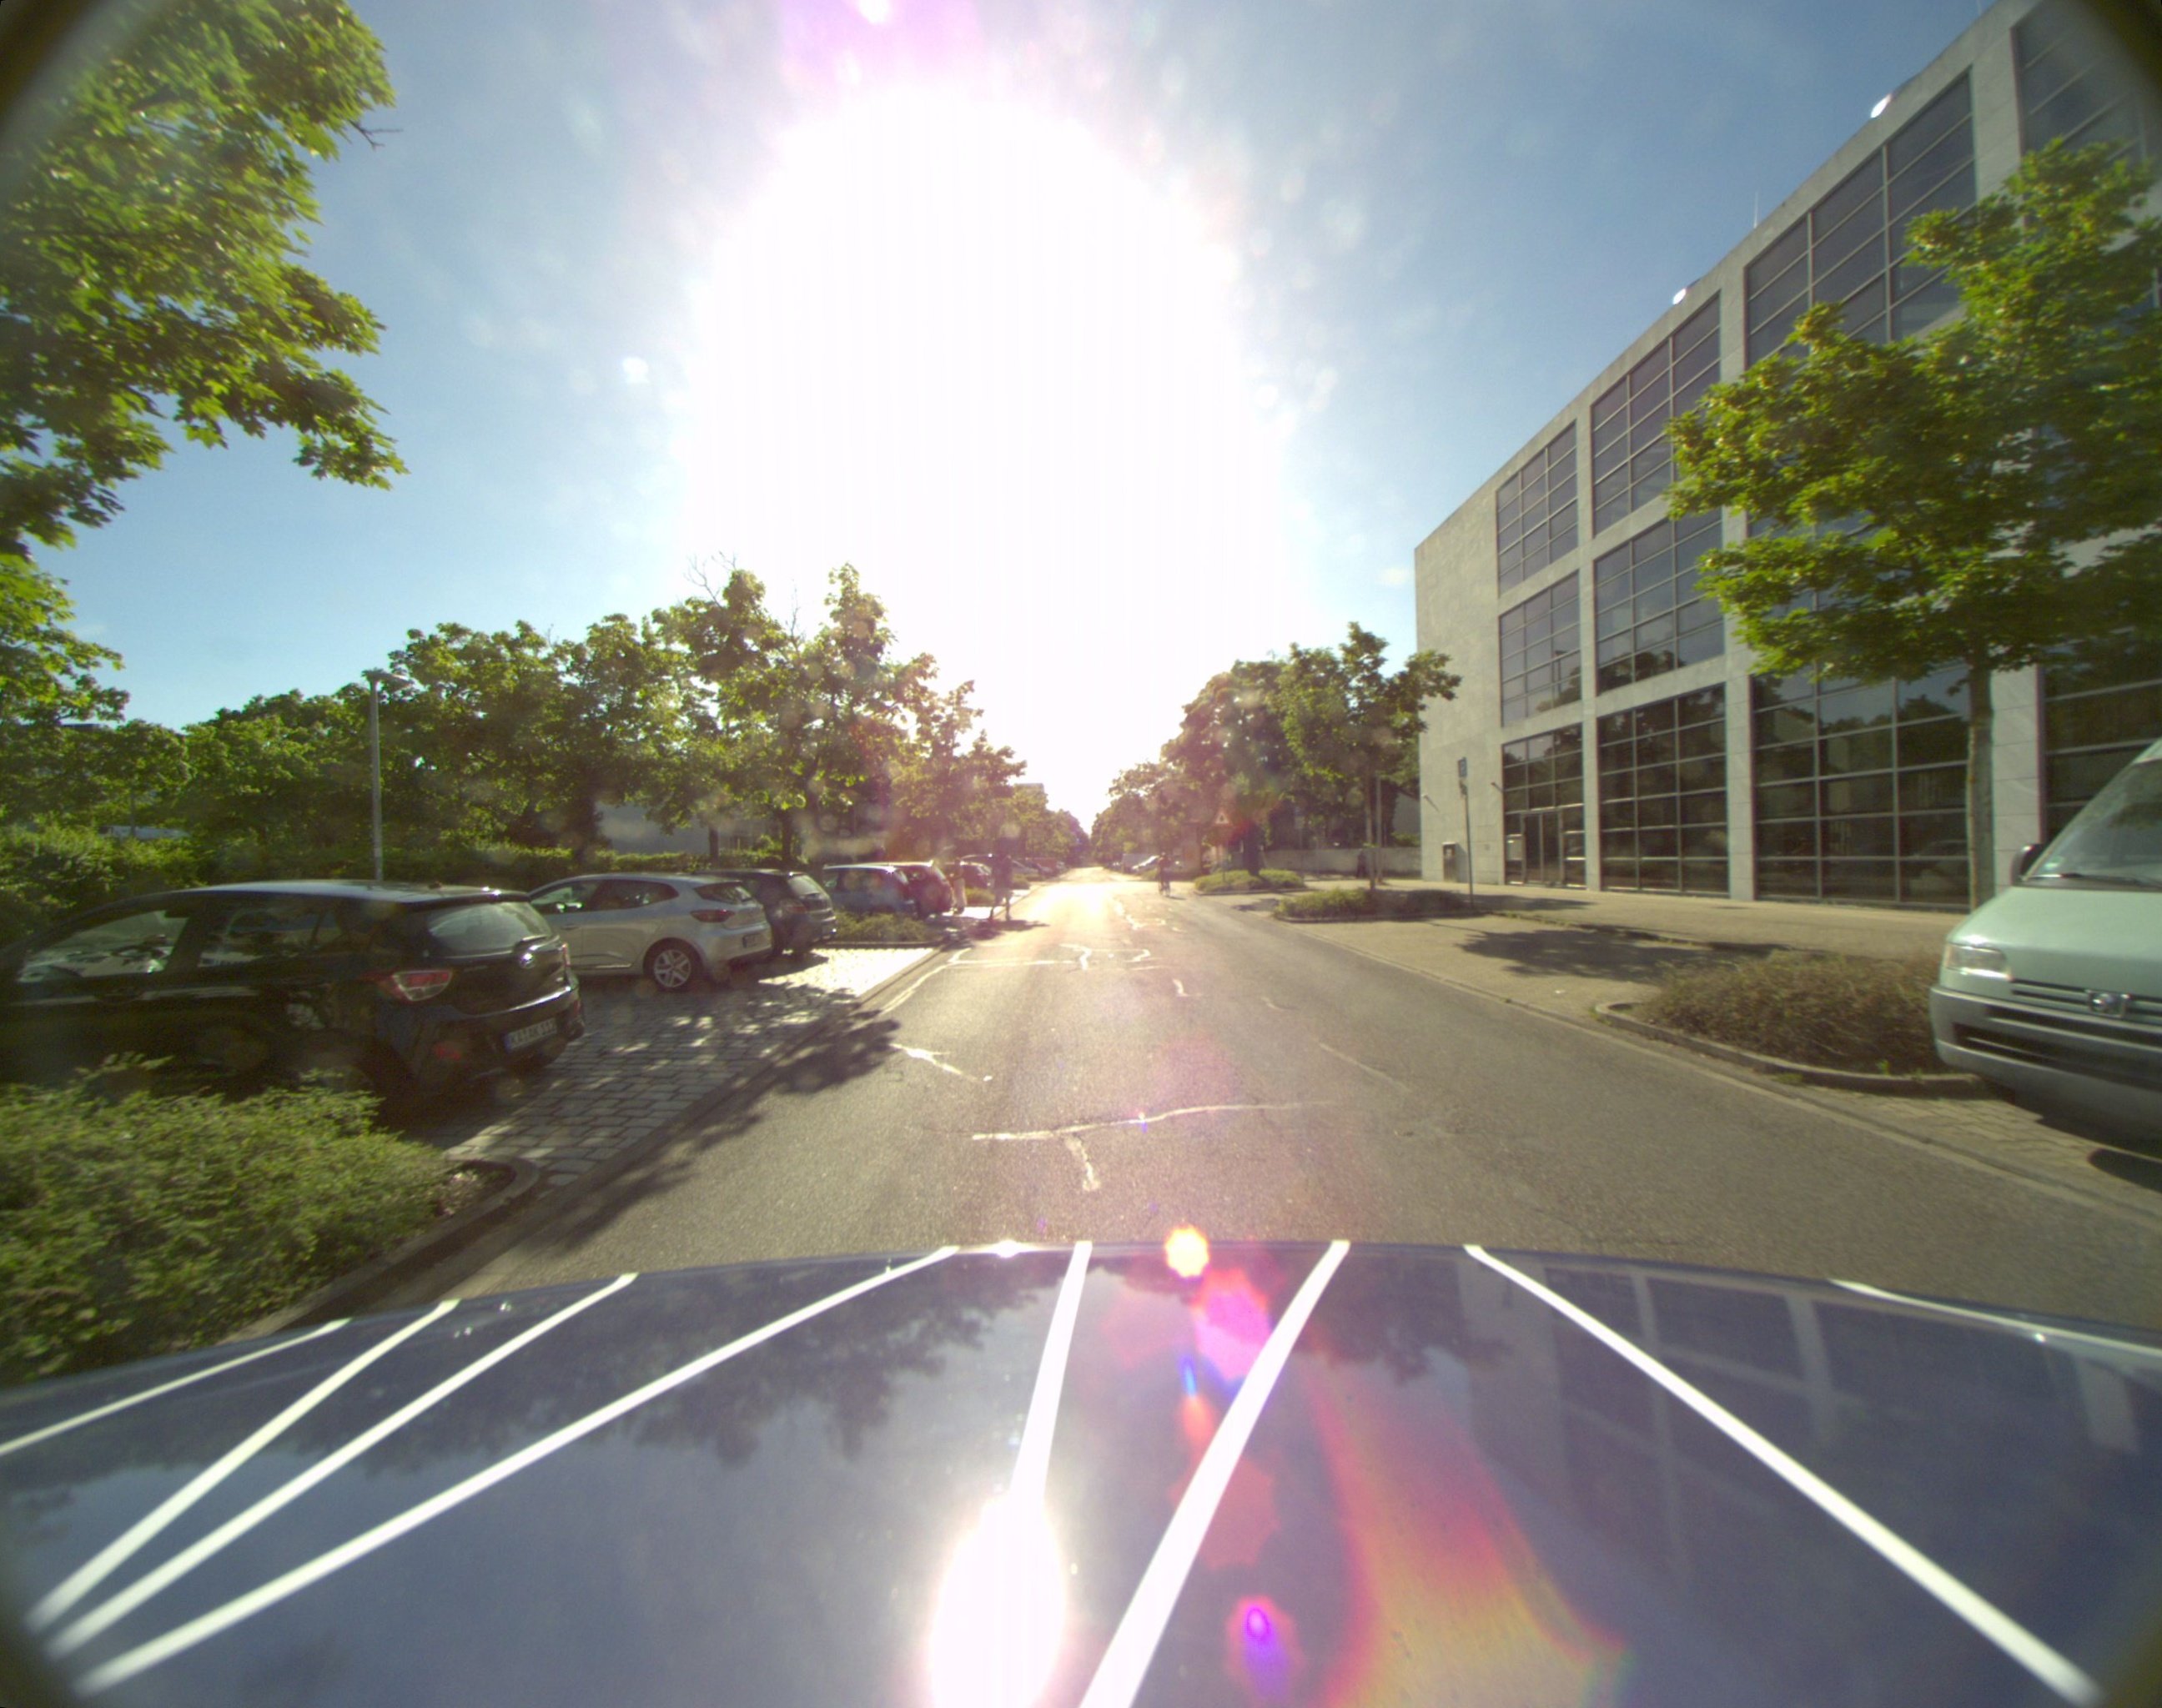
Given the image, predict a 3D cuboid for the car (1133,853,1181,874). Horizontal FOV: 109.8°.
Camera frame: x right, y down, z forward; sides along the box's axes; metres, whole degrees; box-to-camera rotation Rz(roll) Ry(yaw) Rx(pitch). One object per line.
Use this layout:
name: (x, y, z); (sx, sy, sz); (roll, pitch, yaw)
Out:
car: (7.557, 0.989, 75.903); (4.633, 1.979, 2.000); (-1, -1, -1)

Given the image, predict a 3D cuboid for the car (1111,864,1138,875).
car: (7.399, 2.627, 129.779); (4.562, 1.819, 2.000); (-1, -1, -1)

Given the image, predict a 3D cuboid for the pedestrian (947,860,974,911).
pedestrian: (-3.811, 0.983, 24.054); (0.766, 1.569, 0.674); (-1, -1, -5)

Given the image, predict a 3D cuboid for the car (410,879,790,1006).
car: (-6.008, 1.072, 9.836); (3.741, 1.408, 1.842); (-1, 0, 2)

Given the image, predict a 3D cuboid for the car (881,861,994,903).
car: (-5.284, 1.009, 28.384); (3.909, 1.418, 1.672); (-1, 1, -1)

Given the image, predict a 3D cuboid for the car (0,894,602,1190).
car: (-5.423, 1.056, 4.947); (3.462, 1.480, 1.746); (0, 1, -1)

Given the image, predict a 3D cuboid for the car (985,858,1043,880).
car: (-4.880, 1.074, 55.800); (4.165, 1.588, 1.829); (0, 0, -1)

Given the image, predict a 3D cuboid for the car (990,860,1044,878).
car: (-5.083, 1.204, 60.366); (4.165, 1.398, 1.829); (0, 0, -1)

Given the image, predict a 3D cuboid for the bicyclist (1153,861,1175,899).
bicyclist: (3.193, 0.973, 29.300); (0.759, 1.423, 1.132); (0, 0, 2)

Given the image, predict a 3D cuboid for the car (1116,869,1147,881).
car: (7.849, 3.281, 118.587); (4.562, 1.819, 2.000); (-1, -1, -1)

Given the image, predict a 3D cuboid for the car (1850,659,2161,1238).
car: (7.085, 0.252, 3.252); (5.261, 2.404, 2.123); (-3, 0, 1)

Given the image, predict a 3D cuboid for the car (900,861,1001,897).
car: (-5.367, 1.015, 31.550); (3.909, 1.428, 1.808); (0, 0, -1)

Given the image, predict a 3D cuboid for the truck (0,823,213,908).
truck: (-46.369, 0.583, 36.236); (6.917, 3.783, 2.813); (-1, -1, 2)

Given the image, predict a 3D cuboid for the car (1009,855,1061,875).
car: (-4.194, 0.988, 69.769); (4.662, 1.762, 1.829); (0, 0, -1)

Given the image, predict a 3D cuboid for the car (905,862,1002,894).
car: (-5.741, 1.058, 34.565); (4.165, 1.398, 1.829); (0, 0, -1)

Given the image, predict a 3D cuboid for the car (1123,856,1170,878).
car: (7.377, 1.496, 86.386); (5.132, 2.364, 2.000); (-1, -1, -1)

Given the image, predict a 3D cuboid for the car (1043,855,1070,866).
car: (-3.887, 0.983, 120.600); (4.257, 1.706, 1.974); (0, 0, -1)

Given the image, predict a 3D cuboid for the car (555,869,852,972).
car: (-5.998, 1.028, 12.399); (3.904, 1.489, 1.842); (-1, 0, 2)

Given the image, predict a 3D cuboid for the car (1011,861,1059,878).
car: (-4.080, 1.358, 67.511); (4.165, 1.398, 1.829); (0, 0, -1)

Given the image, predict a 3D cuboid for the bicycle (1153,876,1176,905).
bicycle: (3.198, 1.396, 29.325); (0.759, 0.996, 1.872); (0, 0, 2)

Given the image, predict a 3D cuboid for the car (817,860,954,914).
car: (-6.134, 1.028, 24.146); (3.909, 1.568, 1.680); (-1, -1, -1)

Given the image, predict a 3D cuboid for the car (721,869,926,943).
car: (-5.499, 1.090, 16.577); (3.909, 1.459, 1.621); (-1, -1, -1)

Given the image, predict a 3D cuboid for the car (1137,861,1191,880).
car: (7.419, 1.440, 68.245); (4.684, 1.398, 1.829); (-3, 0, 2)

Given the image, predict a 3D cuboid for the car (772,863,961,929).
car: (-5.234, 1.004, 18.942); (4.197, 1.511, 1.736); (0, 0, -1)

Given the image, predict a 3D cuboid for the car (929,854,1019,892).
car: (-5.252, 0.905, 37.589); (4.165, 1.836, 1.880); (0, 0, 0)

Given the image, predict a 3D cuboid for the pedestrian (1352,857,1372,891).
pedestrian: (14.189, 0.998, 38.370); (0.837, 1.675, 0.808); (0, 0, 13)

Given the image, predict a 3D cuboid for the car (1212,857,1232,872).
car: (16.325, 1.175, 87.927); (1.833, 1.604, 4.145); (0, 0, 4)

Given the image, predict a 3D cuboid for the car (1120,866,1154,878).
car: (7.789, 2.552, 106.007); (4.562, 1.590, 2.000); (-1, -1, -1)

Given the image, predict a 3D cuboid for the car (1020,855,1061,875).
car: (-4.167, 1.163, 79.057); (4.257, 2.020, 1.974); (0, 0, -1)

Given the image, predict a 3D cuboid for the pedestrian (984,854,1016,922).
pedestrian: (-2.168, 0.892, 20.428); (0.721, 1.761, 1.168); (0, 1, -1)
